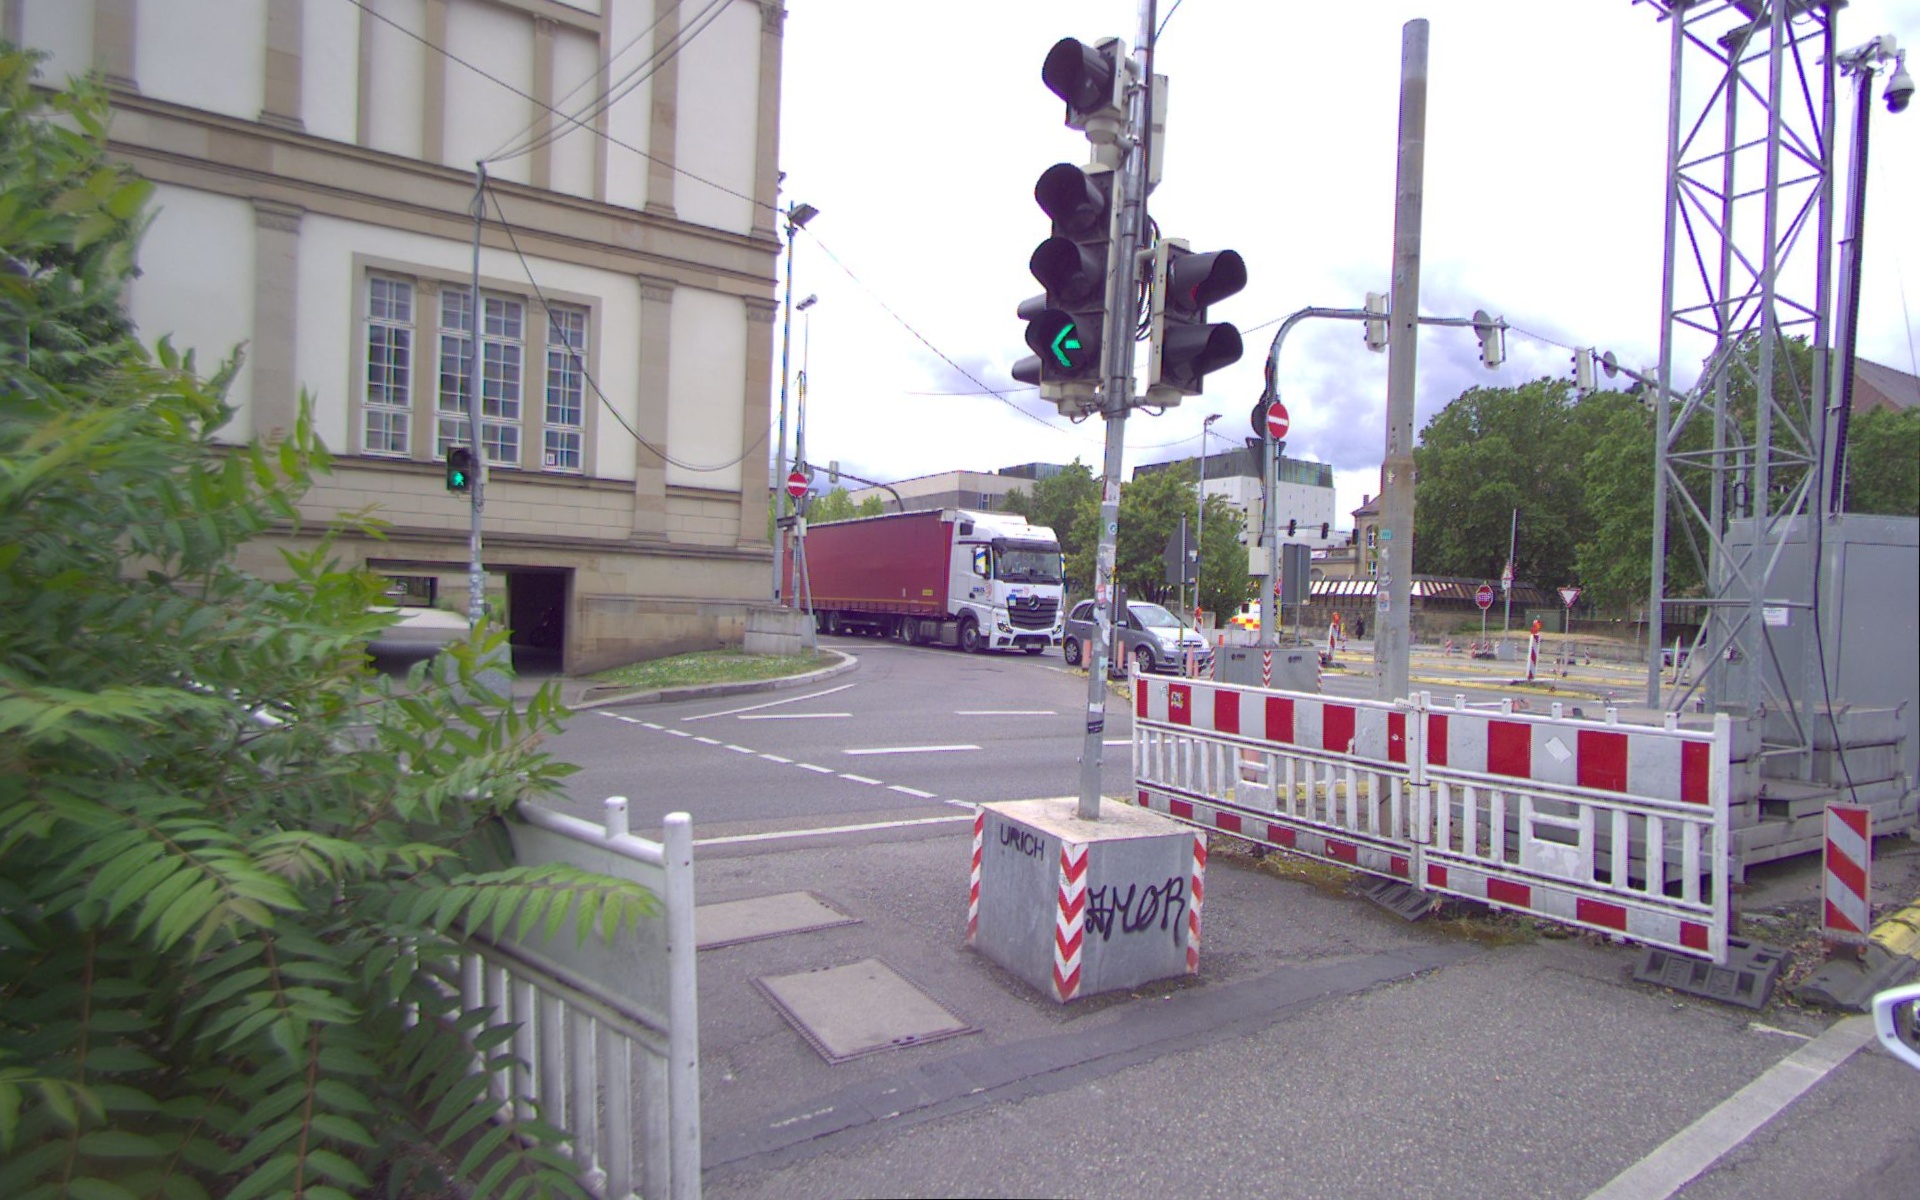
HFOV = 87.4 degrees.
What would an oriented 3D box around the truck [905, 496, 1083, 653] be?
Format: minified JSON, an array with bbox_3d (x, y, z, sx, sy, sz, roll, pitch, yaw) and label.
[{"bbox_3d":[0.876,-0.651,29.324,2.913,4.117,4.849,2,-1,-32],"label":"truck"}]

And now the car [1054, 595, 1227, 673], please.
[{"bbox_3d":[4.102,0.740,23.494,1.808,1.646,4.035,2,-1,-29],"label":"car"}]

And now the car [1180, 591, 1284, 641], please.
[{"bbox_3d":[18.182,1.037,67.449,2.349,3.092,6.691,2,-1,-36],"label":"car"}]

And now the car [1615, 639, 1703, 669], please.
[{"bbox_3d":[38.500,2.961,55.365,3.610,1.417,1.681,2,-1,0],"label":"car"}]

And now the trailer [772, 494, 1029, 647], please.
[{"bbox_3d":[-2.741,-0.868,35.343,2.914,4.338,13.672,2,-1,-31],"label":"trailer"}]

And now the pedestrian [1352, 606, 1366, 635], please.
[{"bbox_3d":[28.581,1.491,71.972,0.597,2.040,0.641,2,0,-32],"label":"pedestrian"}]

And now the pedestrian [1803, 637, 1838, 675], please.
[{"bbox_3d":[49.030,3.179,57.250,1.160,2.040,1.185,2,0,24],"label":"pedestrian"}]

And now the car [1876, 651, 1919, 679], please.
[{"bbox_3d":[51.887,3.549,54.350,3.619,1.417,1.677,2,-1,-12],"label":"car"}]
